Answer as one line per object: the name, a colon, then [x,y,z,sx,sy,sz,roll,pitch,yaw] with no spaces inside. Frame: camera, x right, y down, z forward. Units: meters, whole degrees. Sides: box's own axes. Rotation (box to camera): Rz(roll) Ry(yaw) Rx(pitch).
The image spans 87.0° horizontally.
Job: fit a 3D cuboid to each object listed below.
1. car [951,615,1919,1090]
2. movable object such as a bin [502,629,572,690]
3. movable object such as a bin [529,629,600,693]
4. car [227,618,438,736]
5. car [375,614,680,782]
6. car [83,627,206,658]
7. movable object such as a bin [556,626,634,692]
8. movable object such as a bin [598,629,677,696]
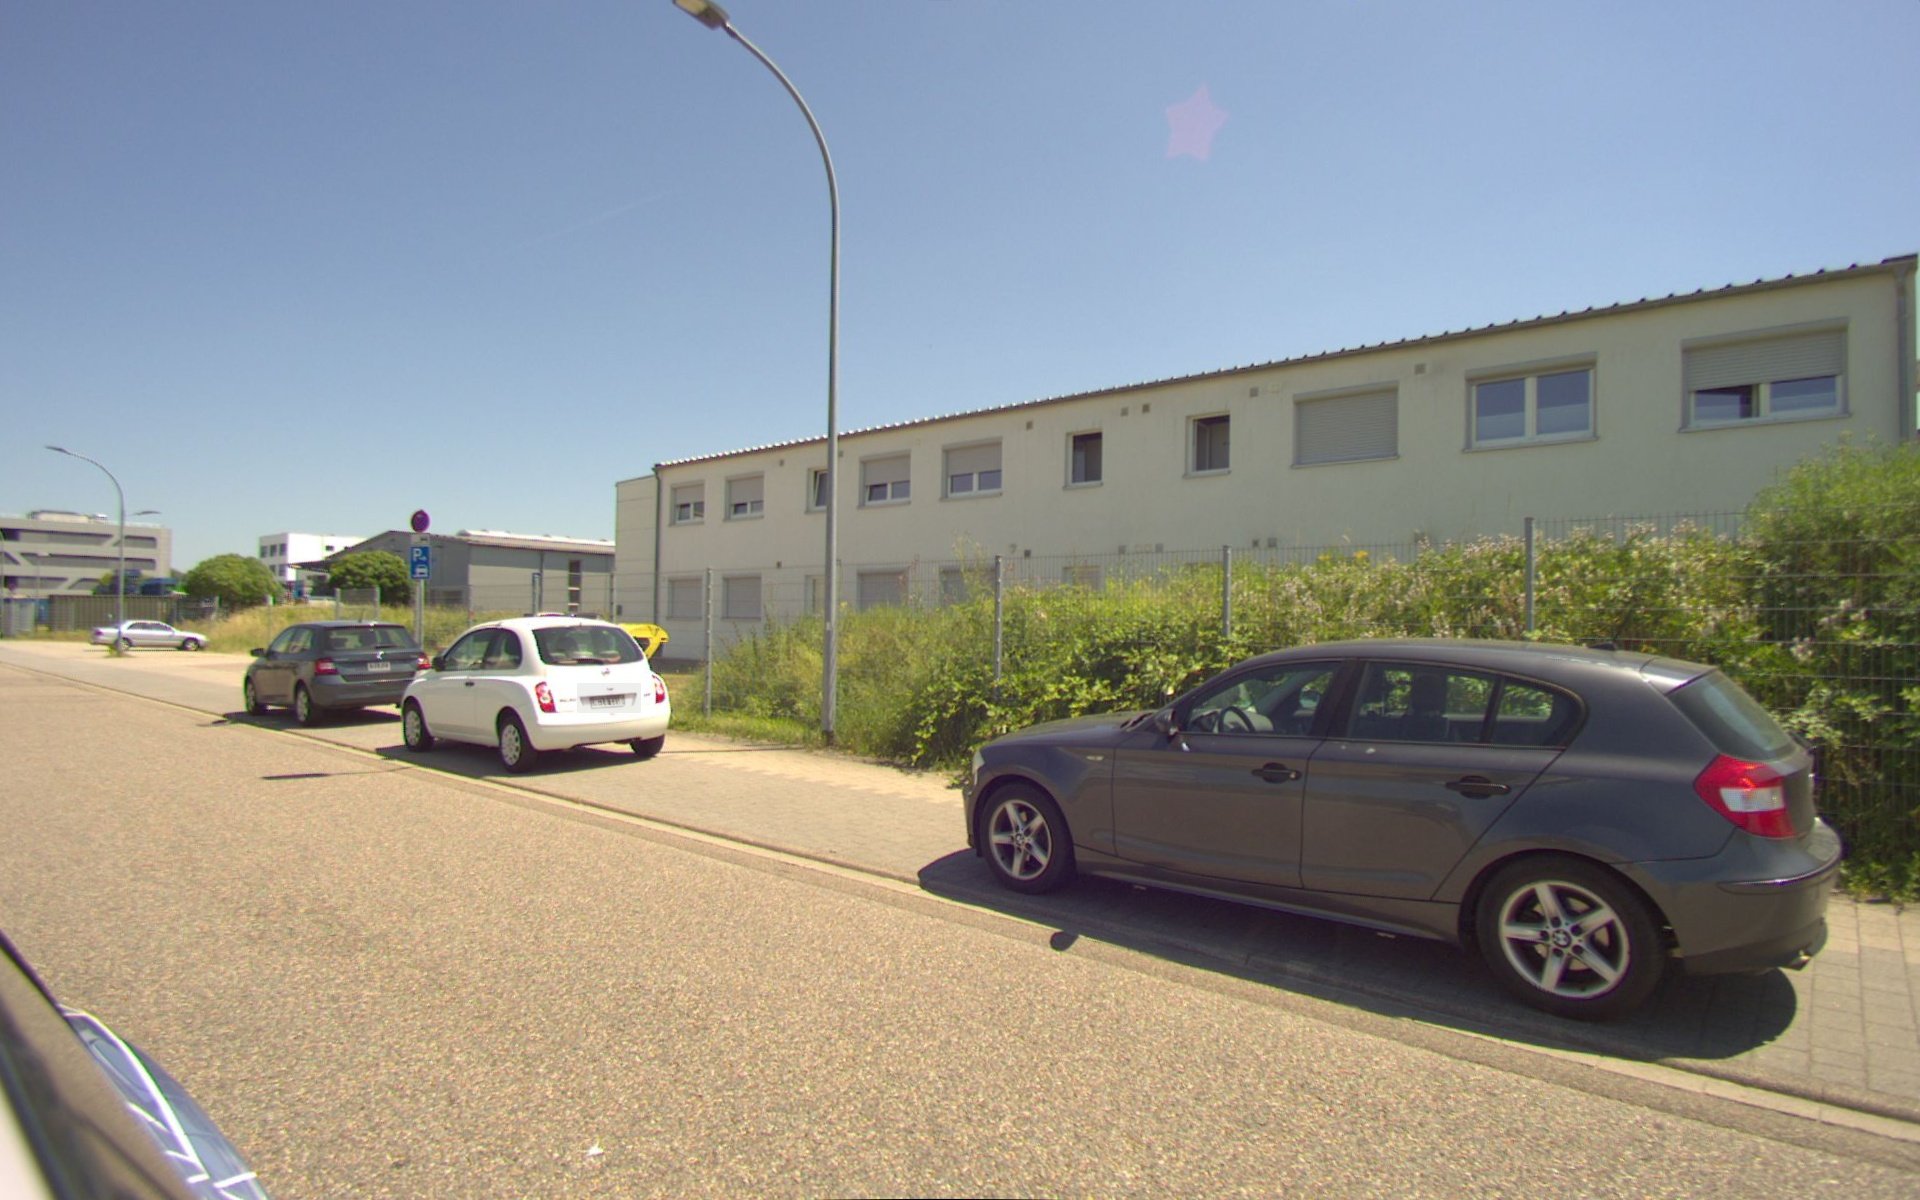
car: [2.020,0.844,5.055,4.067,1.462,1.656,-2,-2,41]
movable object such as a bin: [-10.623,1.459,25.422,1.434,1.459,1.130,0,-2,44]
movable object such as a bin: [-9.551,1.451,24.439,1.371,1.459,1.112,0,-2,44]
car: [-9.639,1.062,15.438,3.907,1.541,1.656,0,-1,41]
car: [-4.917,0.948,11.293,3.756,1.541,1.656,0,-1,41]
car: [-37.922,1.991,47.128,1.862,1.390,4.201,-1,-3,42]
movable object such as a bin: [-8.449,1.337,23.424,1.386,1.459,1.078,0,-2,36]
movable object such as a bin: [-7.162,1.362,22.478,1.388,1.416,1.130,0,-2,43]
